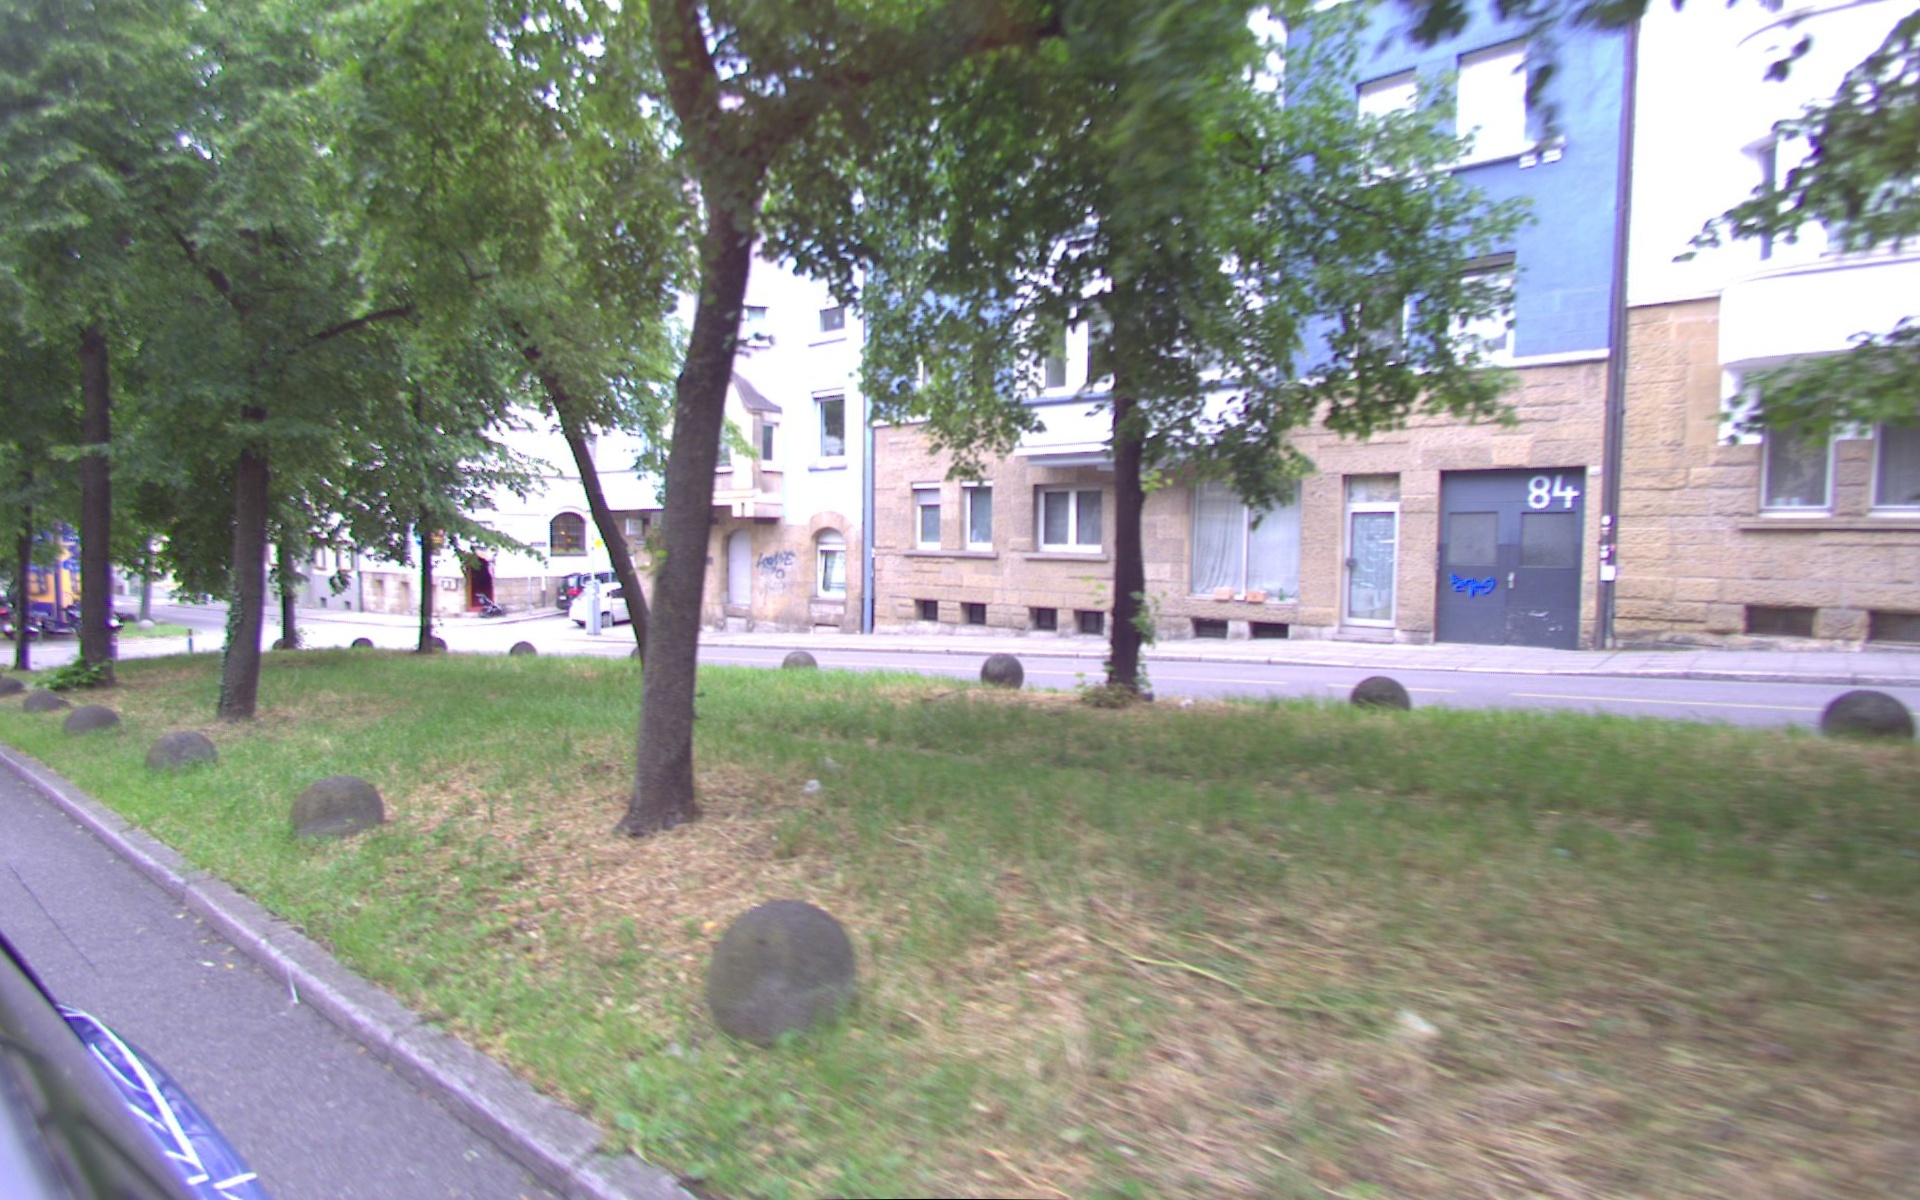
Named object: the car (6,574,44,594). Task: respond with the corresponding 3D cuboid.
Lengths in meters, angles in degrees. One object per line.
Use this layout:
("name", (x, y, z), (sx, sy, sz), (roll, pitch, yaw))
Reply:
("car", (-76.272, -1.304, 82.533), (4.253, 1.575, 1.795), (0, 2, 41))

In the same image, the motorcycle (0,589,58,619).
("motorcycle", (-49.256, 0.219, 53.375), (0.963, 1.494, 2.393), (4, 3, 41))

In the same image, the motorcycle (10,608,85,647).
("motorcycle", (-28.966, 0.846, 32.142), (0.551, 1.104, 1.712), (3, 5, 44))

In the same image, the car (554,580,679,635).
("car", (-12.627, 0.219, 37.410), (1.869, 1.480, 3.961), (3, 8, 38))

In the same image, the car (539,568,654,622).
("car", (-14.967, -0.253, 41.870), (1.871, 1.711, 3.958), (1, 8, 41))

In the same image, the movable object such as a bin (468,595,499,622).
("movable object such as a bin", (-19.383, 0.334, 41.144), (0.667, 1.000, 0.877), (1, 5, 39))

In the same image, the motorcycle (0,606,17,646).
("motorcycle", (-30.876, 0.822, 32.427), (0.876, 1.104, 2.485), (-3, 5, -42))

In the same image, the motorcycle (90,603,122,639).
("motorcycle", (-29.177, 0.694, 34.572), (0.740, 1.081, 1.854), (-3, 5, -42))
